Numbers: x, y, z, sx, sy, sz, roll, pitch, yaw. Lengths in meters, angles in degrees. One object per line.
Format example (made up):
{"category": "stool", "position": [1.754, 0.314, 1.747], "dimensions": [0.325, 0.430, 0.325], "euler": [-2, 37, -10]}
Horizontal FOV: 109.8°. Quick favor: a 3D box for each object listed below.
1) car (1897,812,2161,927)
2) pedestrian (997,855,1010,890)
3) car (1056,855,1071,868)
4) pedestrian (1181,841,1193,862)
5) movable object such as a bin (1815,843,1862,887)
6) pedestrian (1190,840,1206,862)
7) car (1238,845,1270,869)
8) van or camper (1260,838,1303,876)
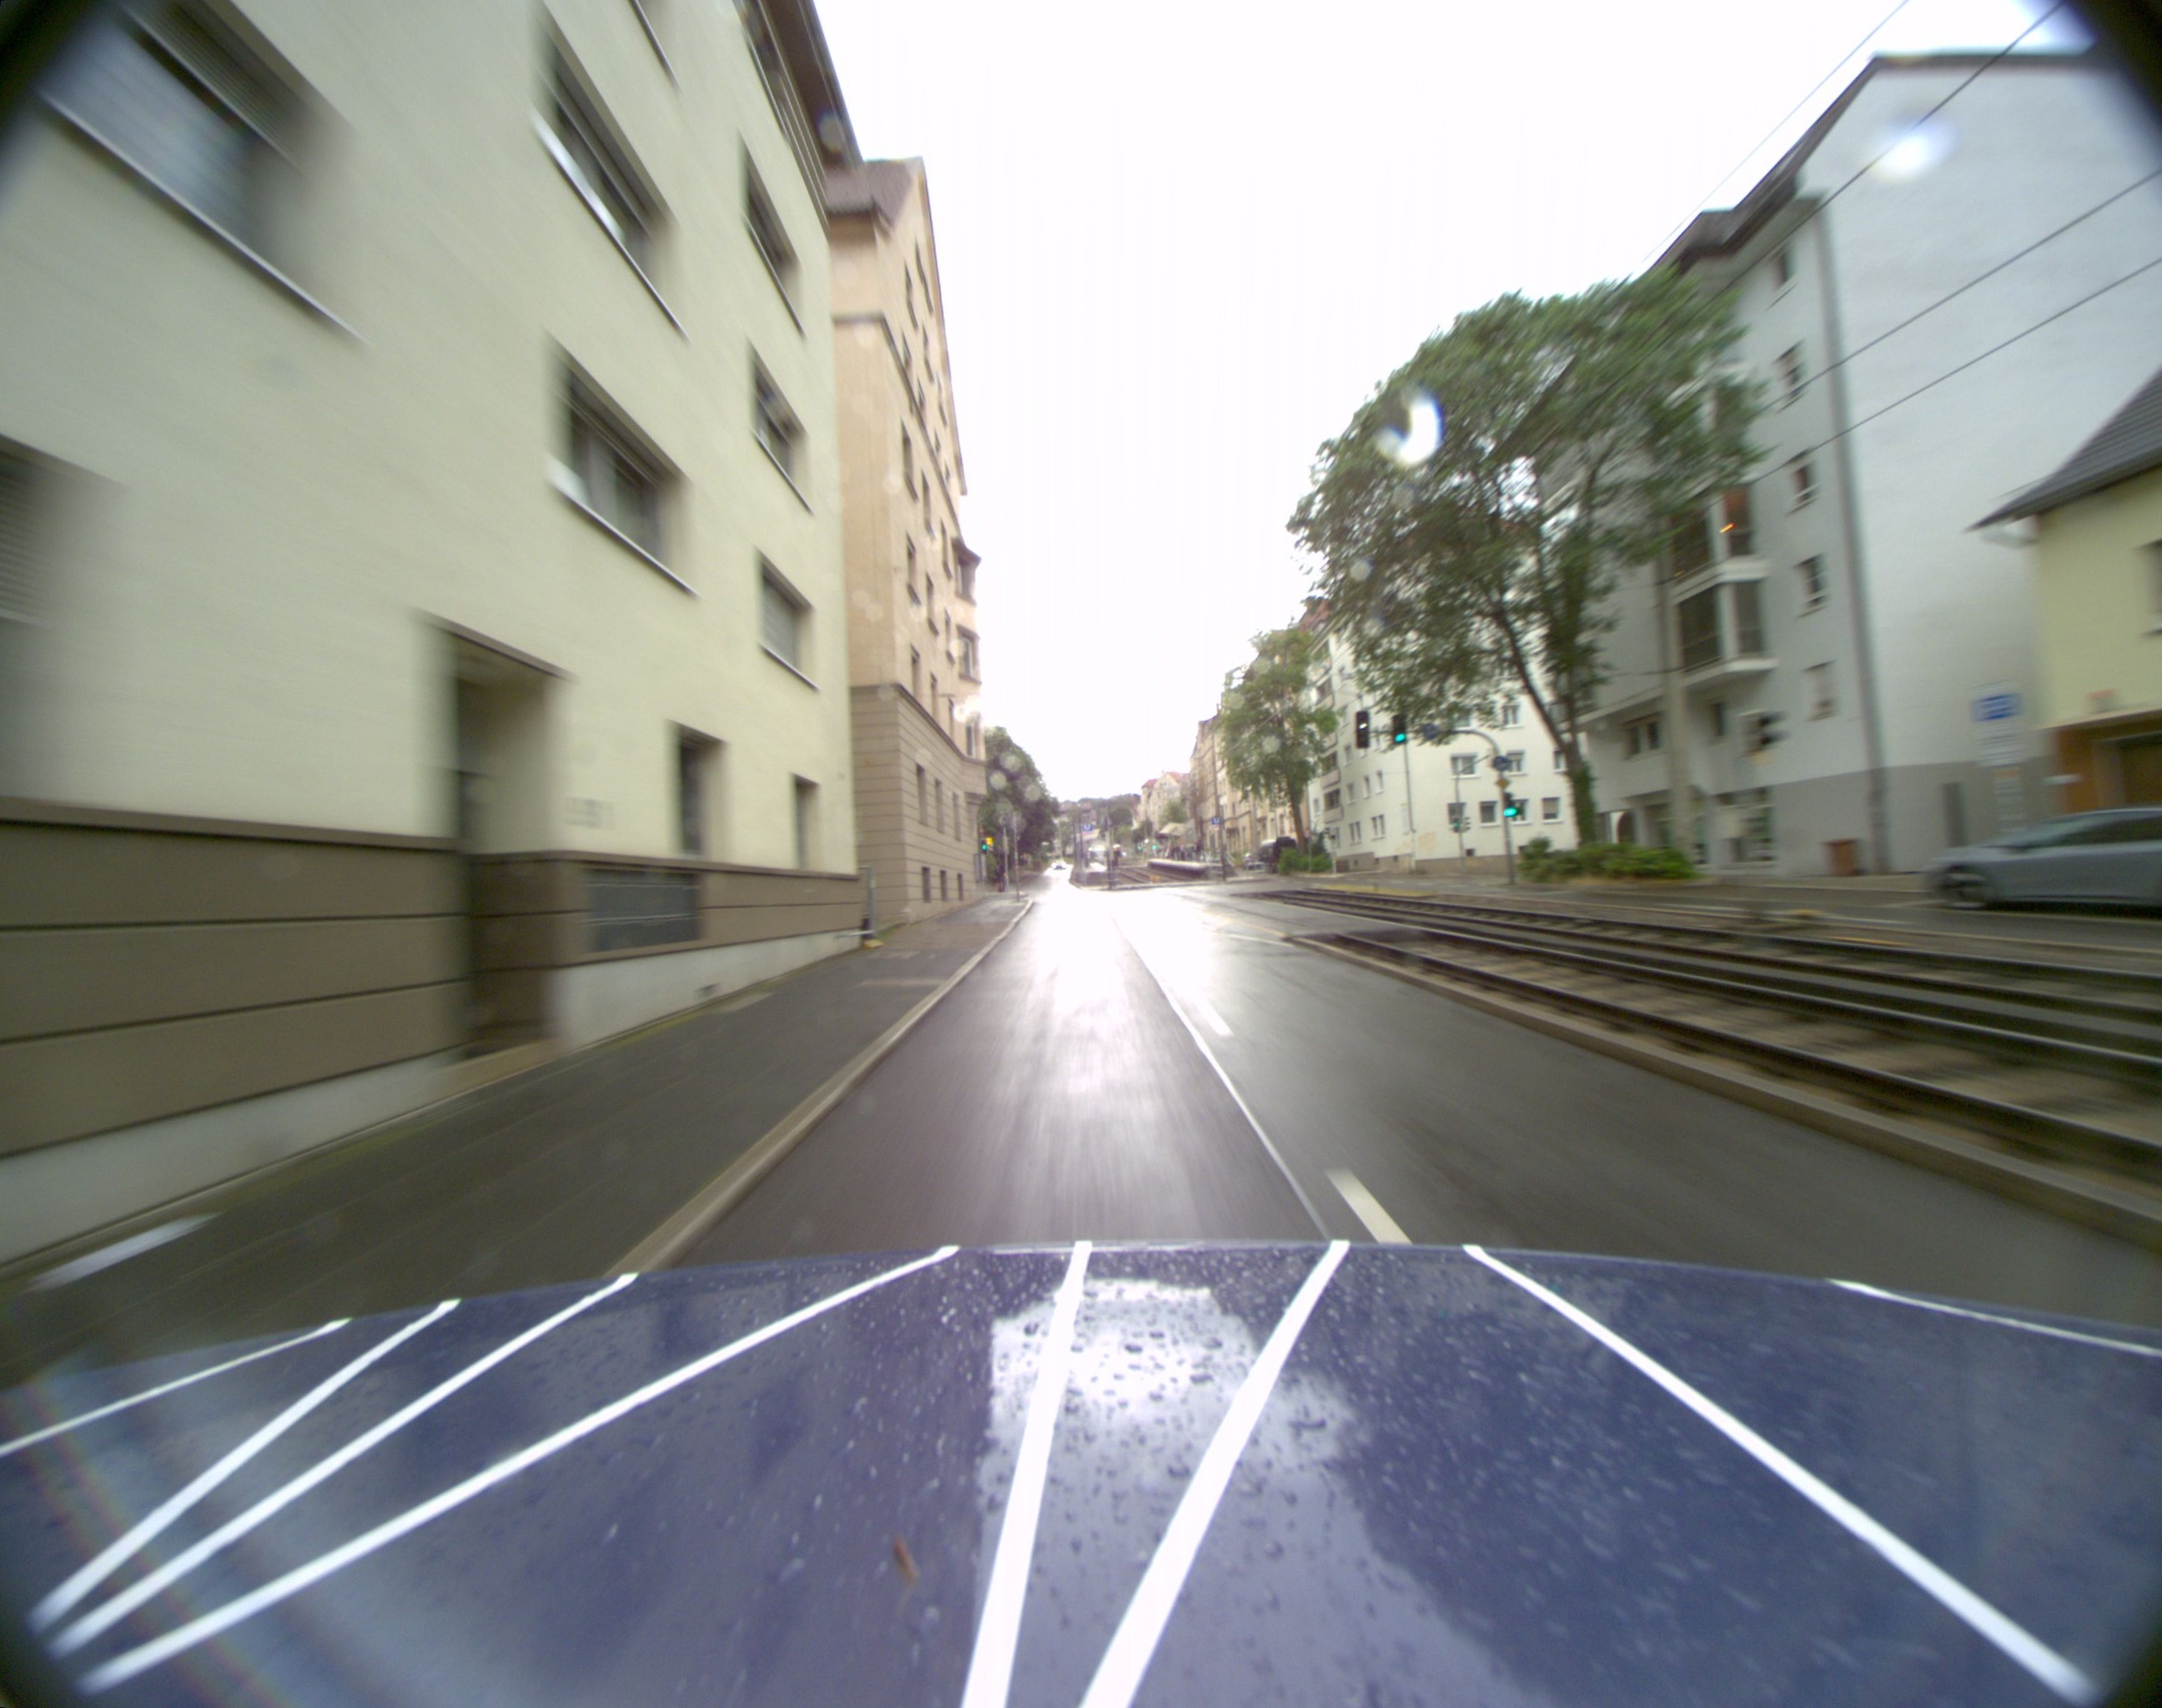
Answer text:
{"category": "car", "position": [15.011, 0.173, 10.968], "dimensions": [1.709, 1.451, 4.360], "euler": [-4, 0, 1]}
{"category": "pedestrian", "position": [-4.336, 1.023, 42.542], "dimensions": [0.547, 1.904, 0.604], "euler": [-3, 0, -2]}
{"category": "car", "position": [-2.483, 1.054, 108.647], "dimensions": [1.999, 1.652, 4.000], "euler": [-3, 0, 0]}
{"category": "pedestrian", "position": [9.571, -0.226, 68.747], "dimensions": [0.903, 1.841, 0.860], "euler": [-3, 0, 1]}
{"category": "movable object such as a bin", "position": [18.344, 0.264, 18.406], "dimensions": [0.440, 1.008, 0.645], "euler": [-3, 0, -1]}
{"category": "pedestrian", "position": [9.833, -0.268, 63.879], "dimensions": [1.120, 1.772, 0.965], "euler": [-3, 0, 0]}
{"category": "car", "position": [15.589, 0.231, 68.612], "dimensions": [1.998, 2.002, 4.001], "euler": [-3, 0, 2]}
{"category": "van or camper", "position": [15.499, 0.216, 59.115], "dimensions": [1.998, 2.782, 5.213], "euler": [-2, 0, 2]}
